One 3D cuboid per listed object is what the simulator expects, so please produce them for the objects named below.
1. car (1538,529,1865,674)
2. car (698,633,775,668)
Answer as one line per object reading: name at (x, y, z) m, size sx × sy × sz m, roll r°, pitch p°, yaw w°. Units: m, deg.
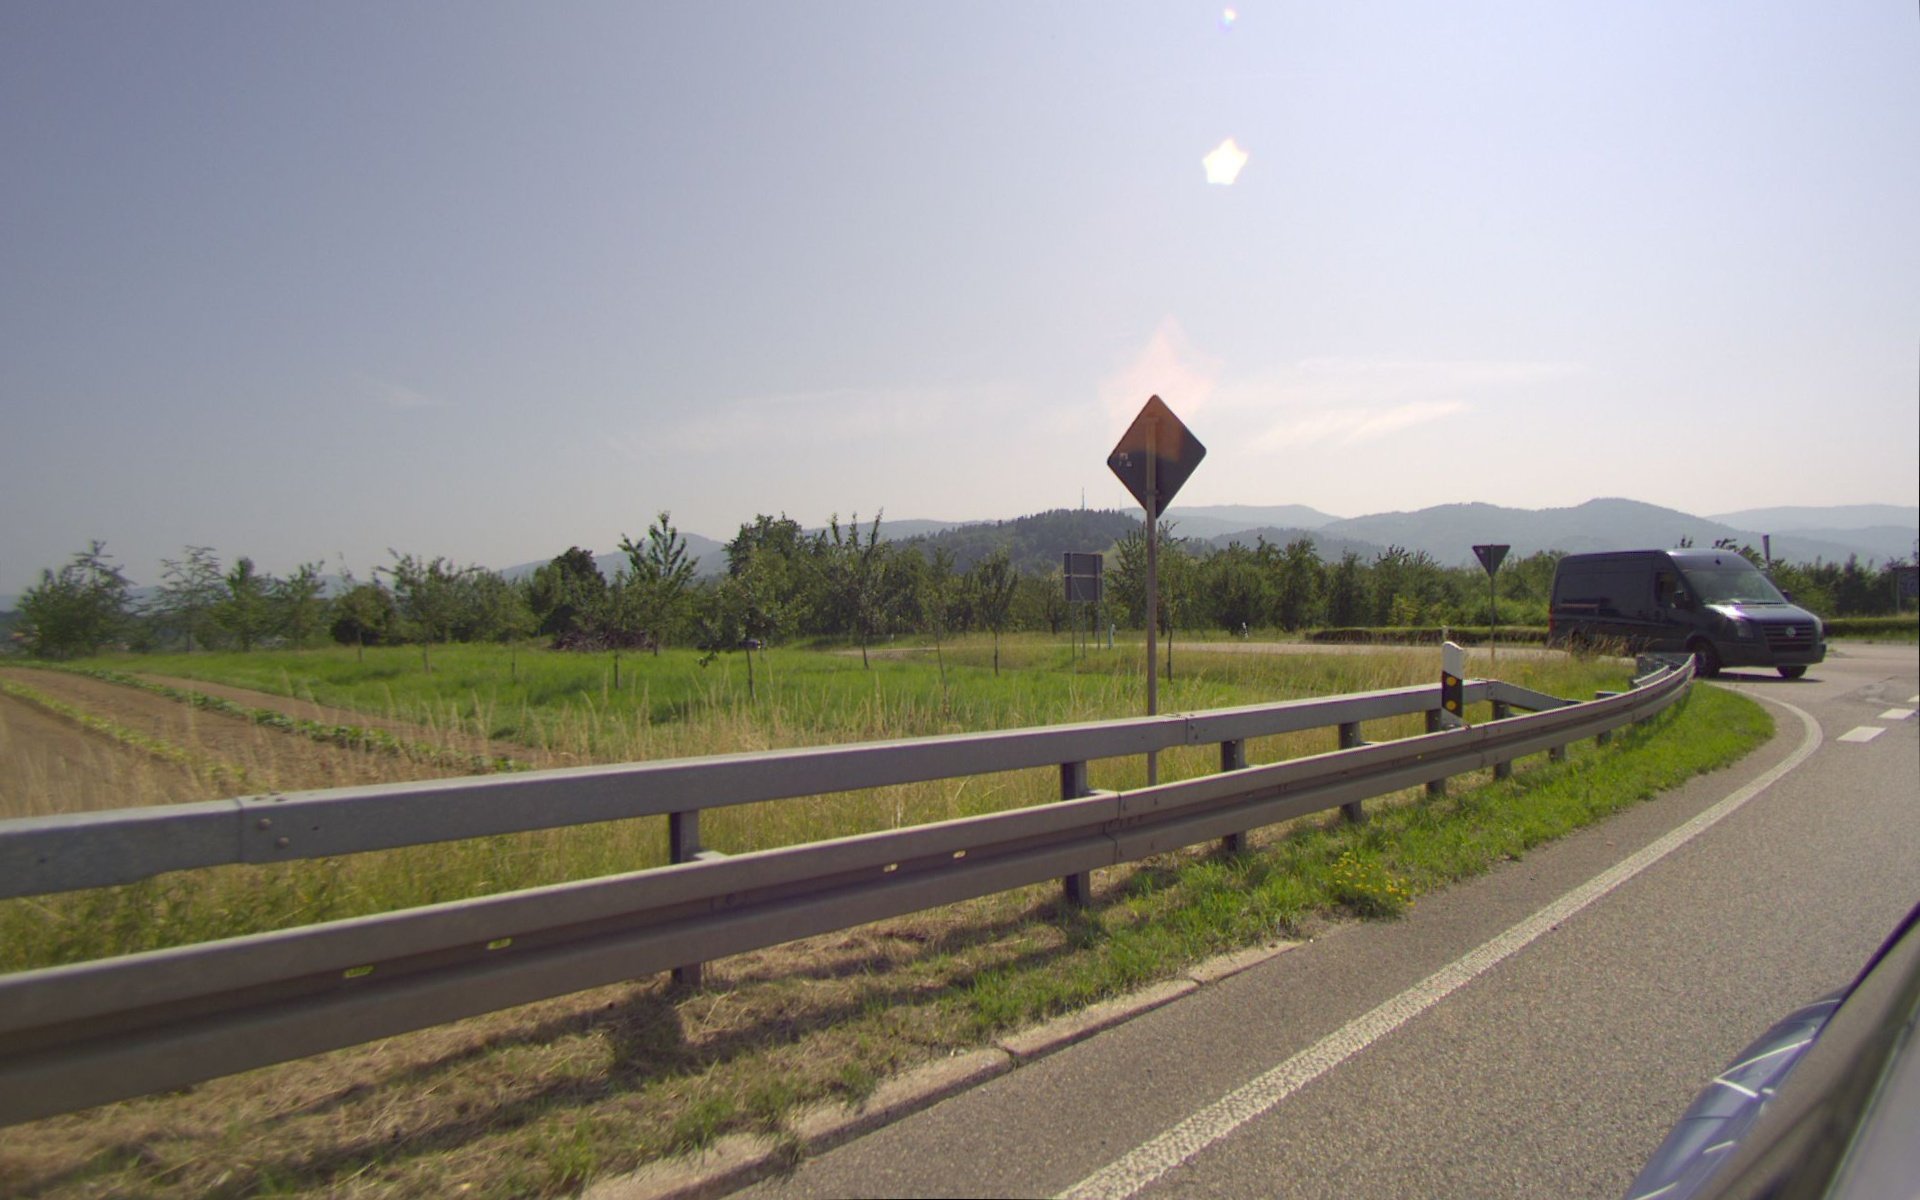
car at (15.267, 0.056, 21.523) m, size 2.022 × 2.608 × 6.314 m, roll -1°, pitch -1°, yaw -3°
car at (-13.238, 2.928, 59.710) m, size 4.652 × 1.717 × 1.973 m, roll 0°, pitch 3°, yaw 40°
